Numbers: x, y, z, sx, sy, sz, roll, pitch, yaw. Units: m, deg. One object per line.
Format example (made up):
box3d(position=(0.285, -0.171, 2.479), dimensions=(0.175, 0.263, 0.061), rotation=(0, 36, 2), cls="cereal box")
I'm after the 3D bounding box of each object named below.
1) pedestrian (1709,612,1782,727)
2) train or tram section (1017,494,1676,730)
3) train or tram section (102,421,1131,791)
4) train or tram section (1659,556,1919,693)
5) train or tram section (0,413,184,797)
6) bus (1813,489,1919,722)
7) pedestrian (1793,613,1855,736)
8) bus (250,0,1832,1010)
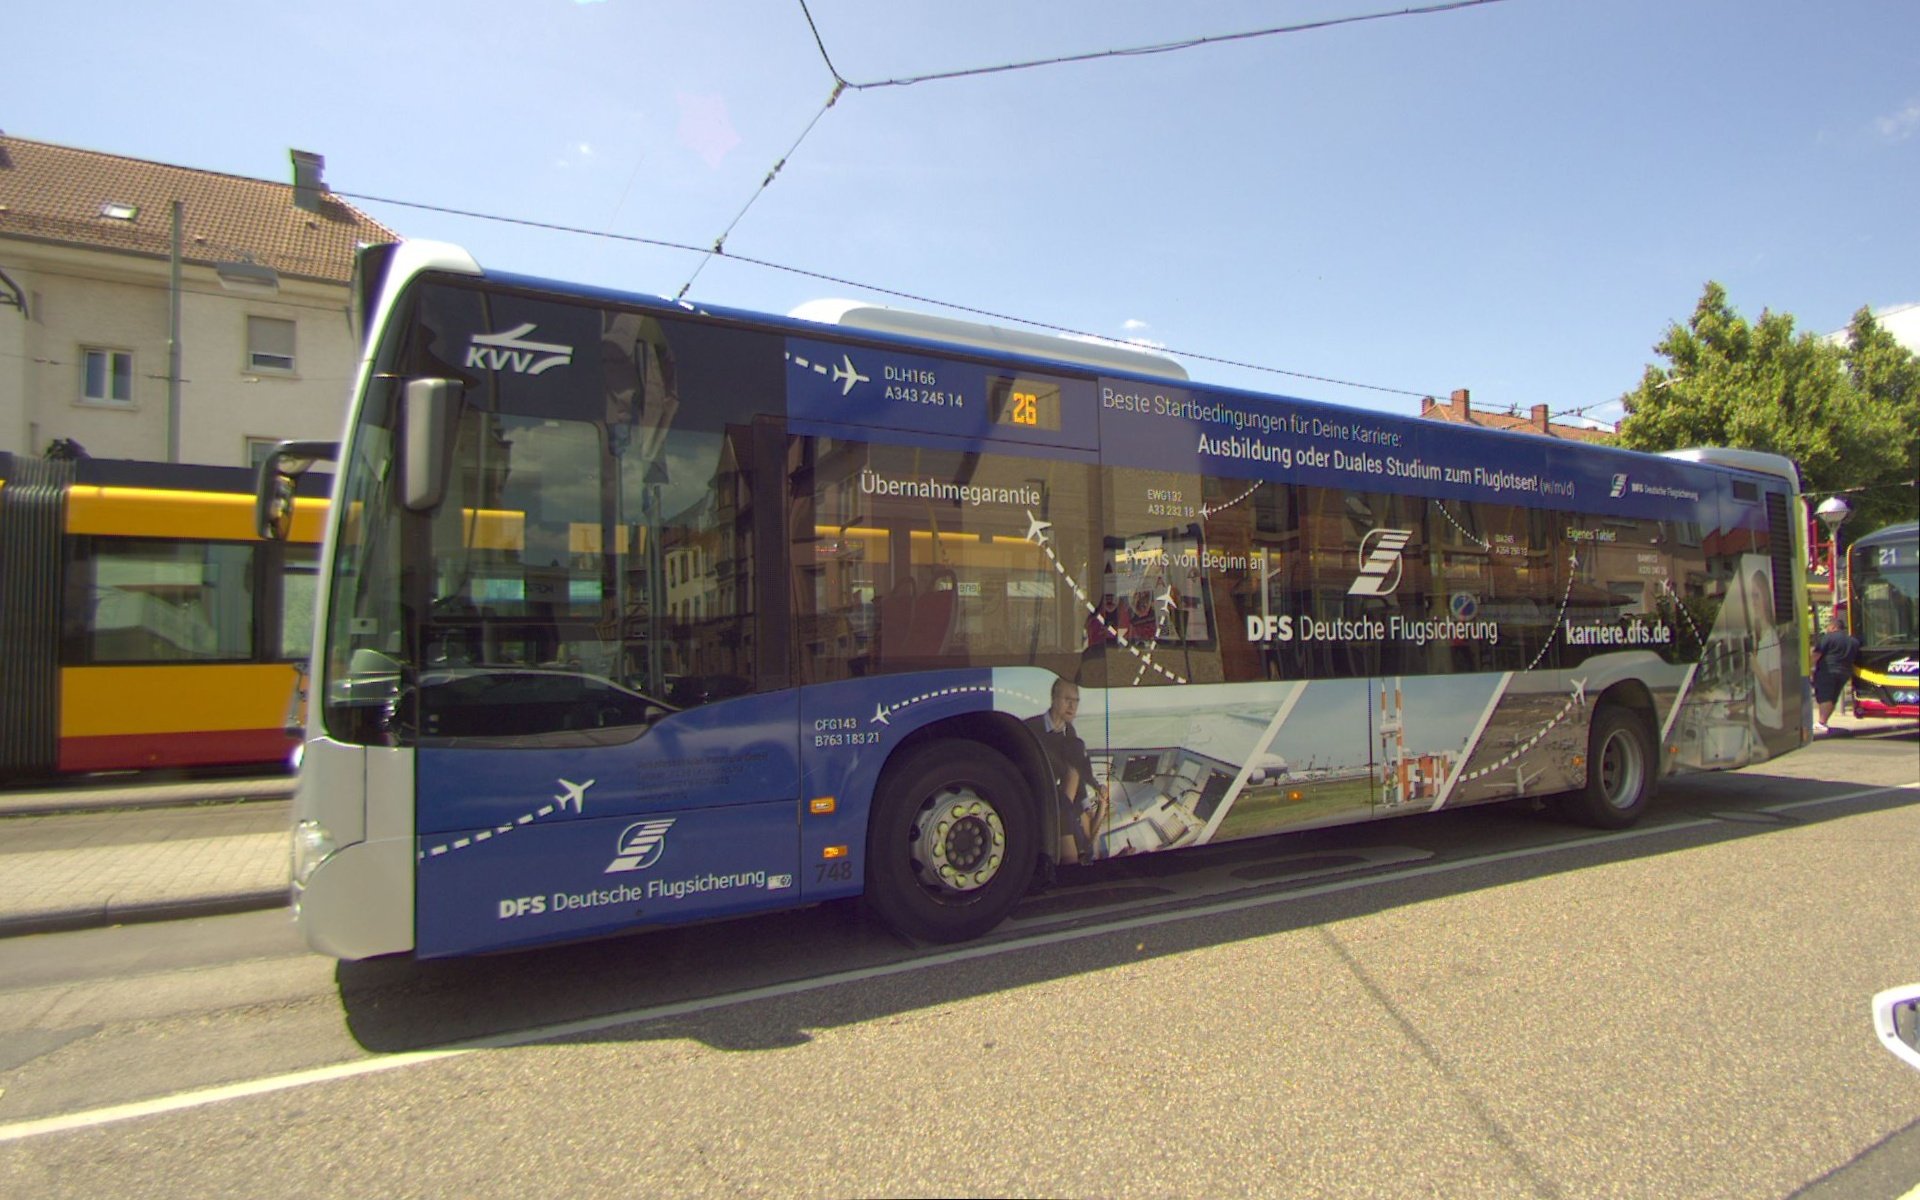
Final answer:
box3d(position=(12.792, 1.114, 16.372), dimensions=(0.767, 1.800, 0.574), rotation=(1, -1, 19), cls="pedestrian")
box3d(position=(9.197, 0.372, 21.346), dimensions=(17.145, 3.691, 2.950), rotation=(1, -1, -30), cls="train or tram section")
box3d(position=(-3.458, 0.192, 14.013), dimensions=(12.506, 3.541, 2.950), rotation=(1, -1, -30), cls="train or tram section")
box3d(position=(27.300, 0.817, 31.751), dimensions=(13.827, 3.691, 2.950), rotation=(1, -1, -30), cls="train or tram section")
box3d(position=(-10.695, 0.078, 9.865), dimensions=(4.364, 3.540, 2.951), rotation=(1, -3, -30), cls="train or tram section")
box3d(position=(18.878, 0.298, 16.921), dimensions=(12.050, 3.290, 2.885), rotation=(2, -1, -29), cls="bus")
box3d(position=(13.021, 1.112, 15.148), dimensions=(0.582, 1.800, 0.386), rotation=(1, -1, 19), cls="pedestrian")
box3d(position=(2.192, -0.192, 7.521), dimensions=(11.899, 3.472, 2.894), rotation=(2, -1, -30), cls="bus")
